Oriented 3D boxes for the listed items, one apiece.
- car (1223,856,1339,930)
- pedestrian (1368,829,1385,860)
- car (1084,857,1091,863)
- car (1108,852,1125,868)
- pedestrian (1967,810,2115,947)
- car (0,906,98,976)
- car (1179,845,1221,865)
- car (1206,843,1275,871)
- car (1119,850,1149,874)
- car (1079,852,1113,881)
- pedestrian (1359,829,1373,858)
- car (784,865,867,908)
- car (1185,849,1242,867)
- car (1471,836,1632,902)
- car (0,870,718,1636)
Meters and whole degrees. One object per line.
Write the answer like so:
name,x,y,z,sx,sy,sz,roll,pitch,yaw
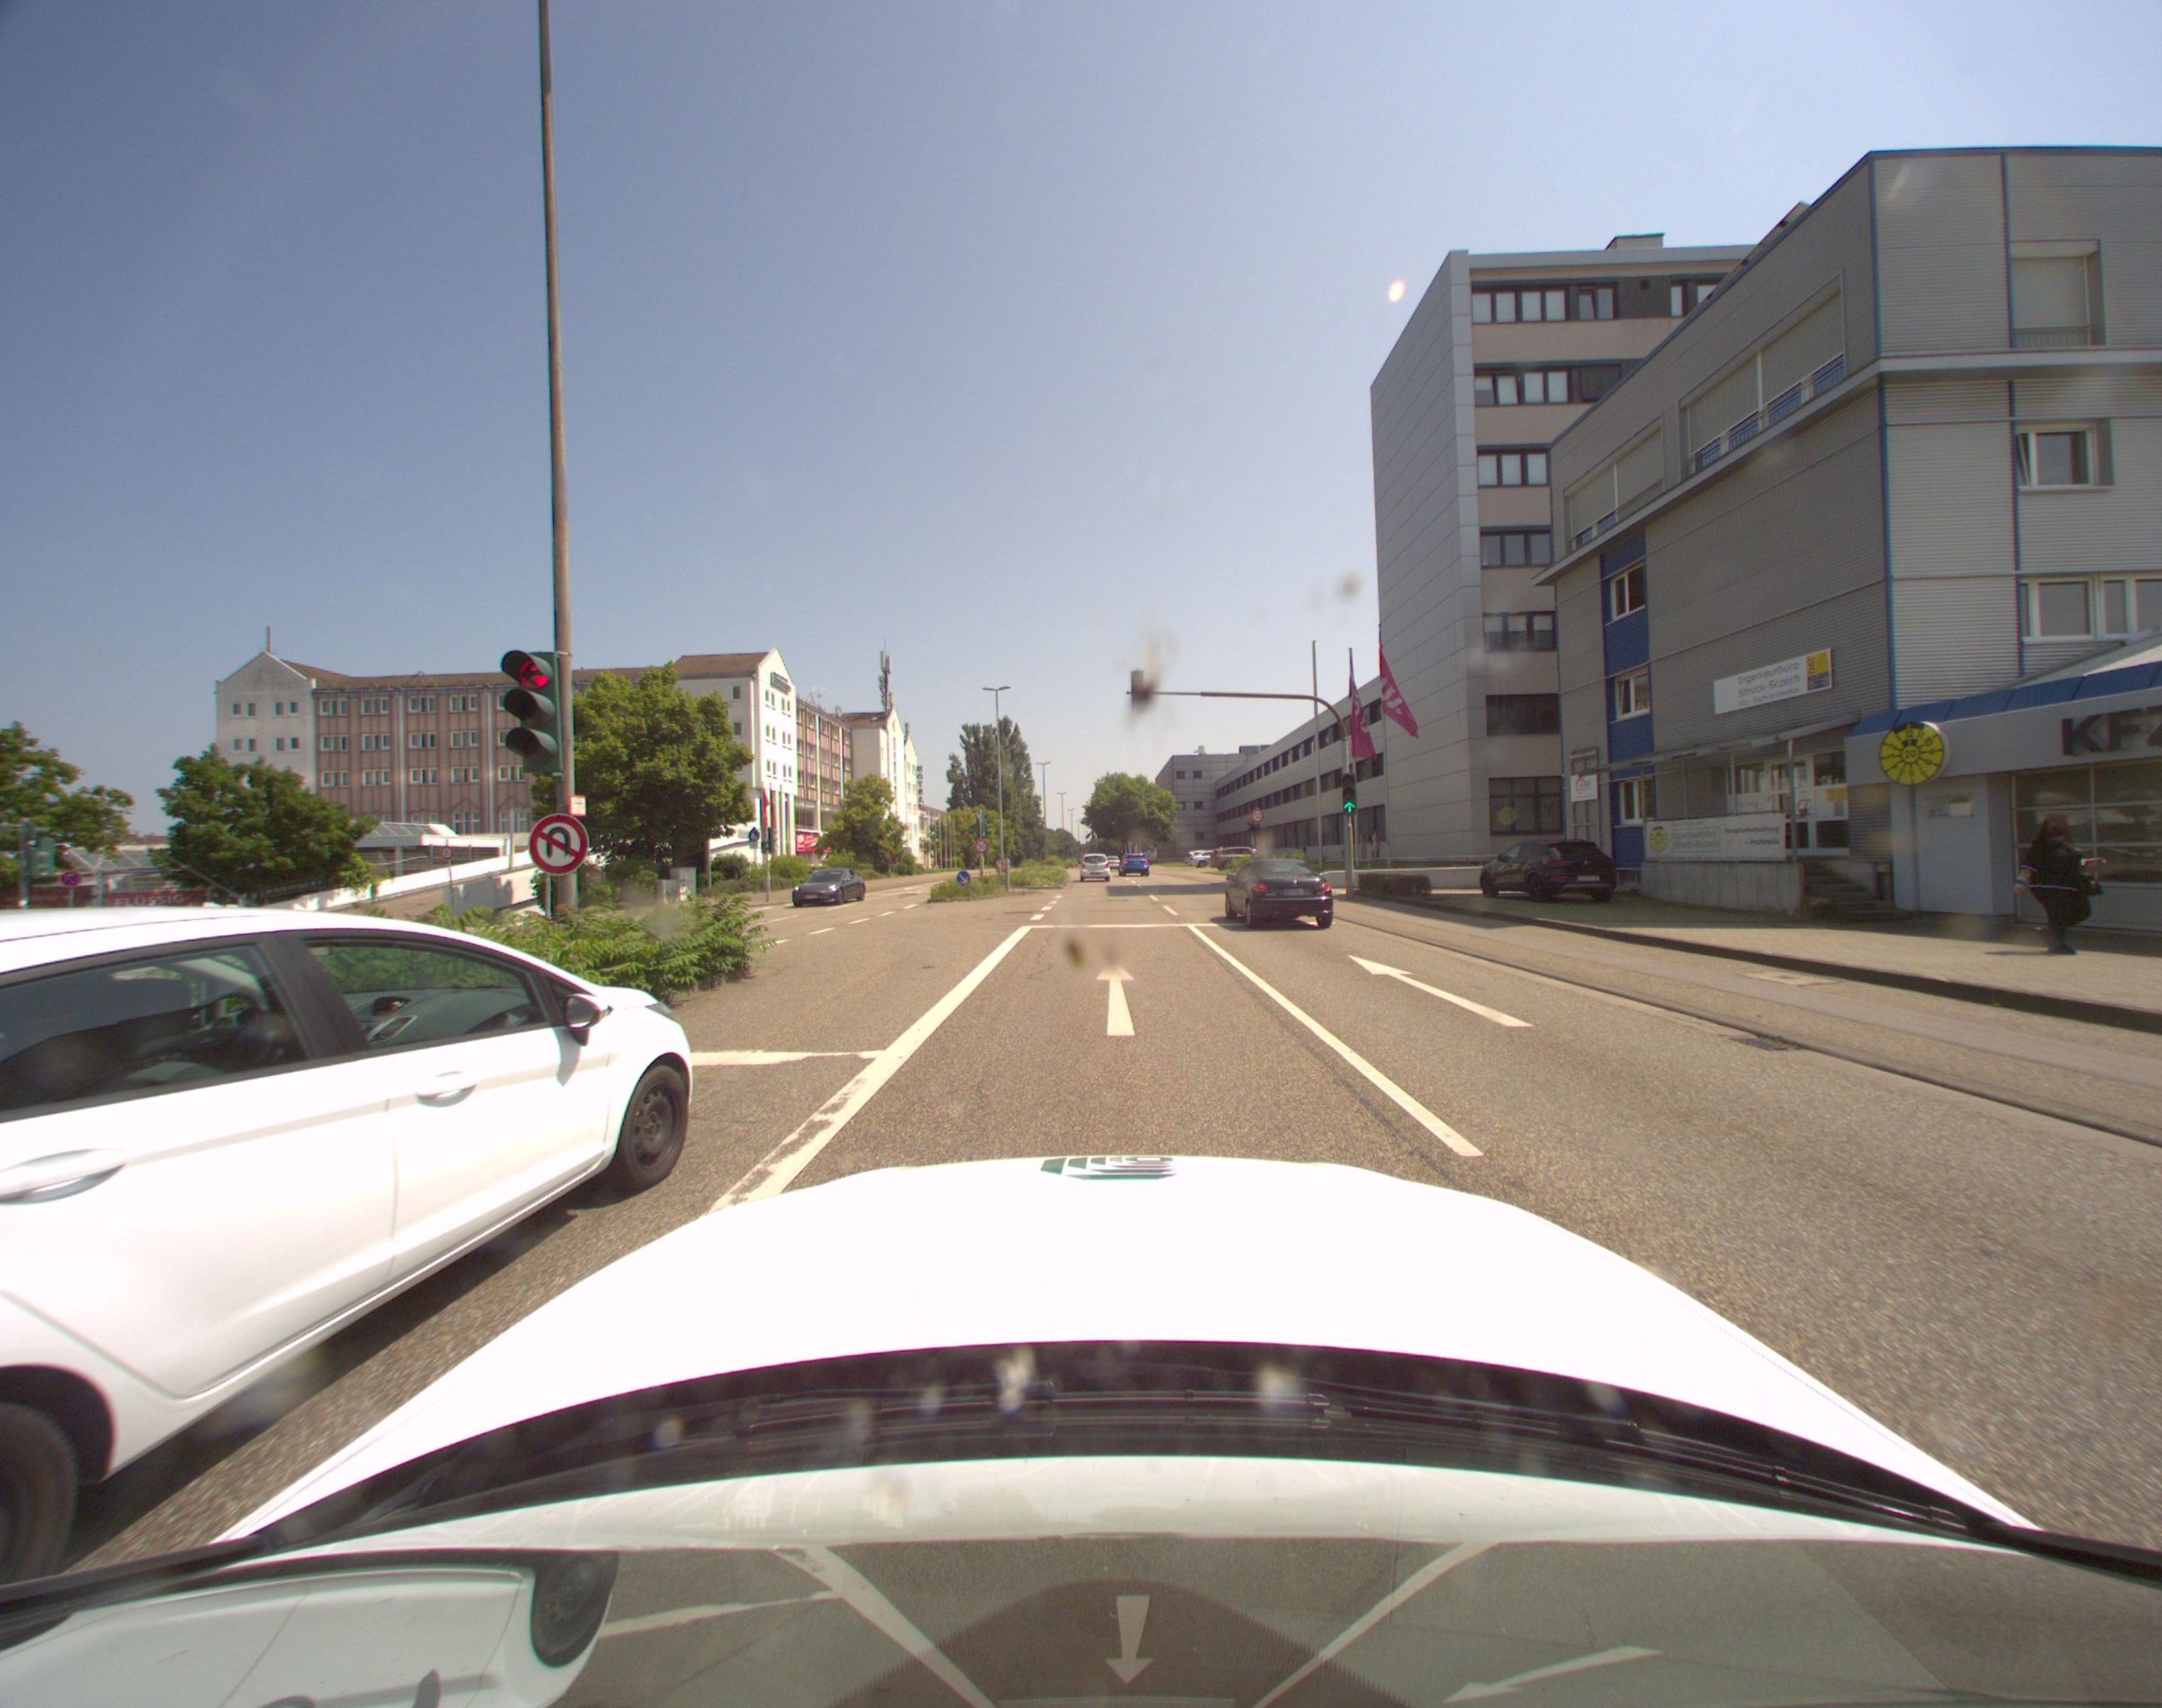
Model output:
car,4.125,0.742,17.303,1.621,1.364,3.606,-1,0,1
pedestrian,16.658,-0.534,45.896,0.523,1.663,0.753,-3,0,-16
car,1.808,1.677,241.090,1.815,1.662,3.996,-2,0,-3
car,3.538,0.570,80.417,1.552,1.520,3.609,-2,0,4
pedestrian,12.096,0.299,10.296,0.806,1.627,0.854,-2,0,4
car,-28.801,2.314,21.382,3.966,1.611,1.872,-3,0,6
car,11.898,0.107,81.306,3.804,1.592,1.730,-5,0,-4
car,10.981,0.190,56.160,4.250,1.689,1.998,-2,0,-4
car,3.657,0.552,56.548,1.822,1.580,3.604,-2,0,-1
car,0.876,0.684,46.028,1.741,1.520,3.748,-1,0,3
pedestrian,16.561,-0.620,47.349,0.589,1.634,0.525,-3,0,9
car,-10.271,1.261,33.053,1.988,1.486,4.498,-2,0,-2
car,11.641,0.330,71.794,4.603,1.390,1.998,-2,0,-3
car,11.957,0.355,21.067,1.837,1.531,4.198,0,0,2
car,-2.942,0.838,2.679,1.682,1.434,3.713,-2,0,2
